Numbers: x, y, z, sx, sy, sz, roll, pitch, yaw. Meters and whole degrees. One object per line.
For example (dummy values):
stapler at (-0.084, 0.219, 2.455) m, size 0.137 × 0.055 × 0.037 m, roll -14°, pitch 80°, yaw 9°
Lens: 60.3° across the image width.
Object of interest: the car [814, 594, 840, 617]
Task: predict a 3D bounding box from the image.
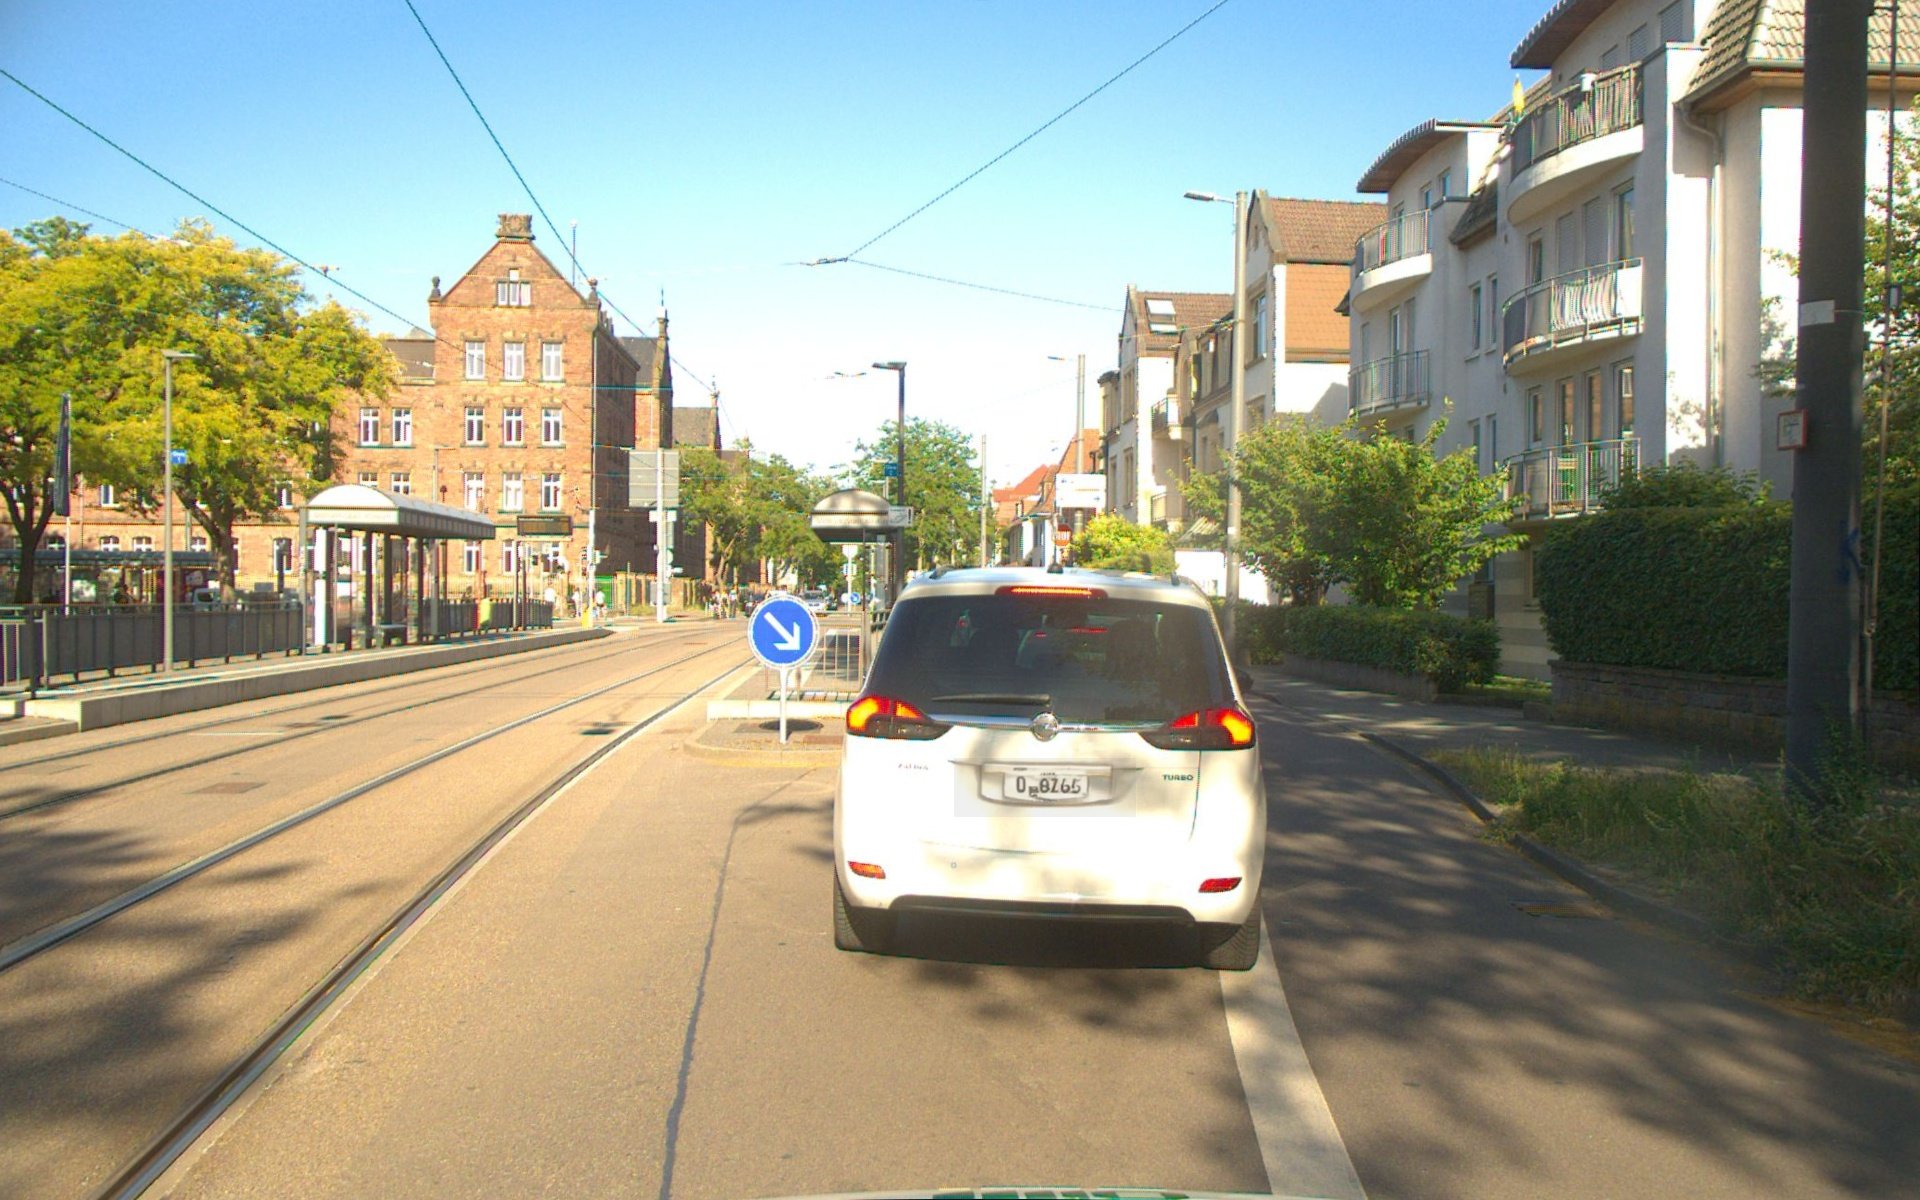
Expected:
car at (-10.358, 0.441, 128.905) m, size 1.711 × 1.746 × 3.999 m, roll 1°, pitch 0°, yaw -1°

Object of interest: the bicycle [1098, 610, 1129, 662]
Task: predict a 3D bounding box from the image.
bicycle at (3.470, 0.804, 37.506) m, size 0.611 × 1.116 × 1.974 m, roll 0°, pitch 0°, yaw 3°

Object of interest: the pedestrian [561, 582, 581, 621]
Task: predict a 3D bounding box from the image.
pedestrian at (-20.711, 0.086, 88.029) m, size 0.788 × 2.049 × 0.712 m, roll 1°, pitch -1°, yaw -34°

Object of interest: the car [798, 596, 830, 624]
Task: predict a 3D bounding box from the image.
car at (-9.454, 0.619, 107.208) m, size 1.711 × 1.746 × 3.999 m, roll 1°, pitch 0°, yaw -1°

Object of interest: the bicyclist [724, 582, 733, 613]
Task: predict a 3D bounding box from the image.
bicyclist at (-15.251, -0.152, 108.971) m, size 0.488 × 2.049 × 0.572 m, roll 0°, pitch 0°, yaw -1°

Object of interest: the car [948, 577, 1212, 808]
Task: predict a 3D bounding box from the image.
car at (1.068, 0.644, 13.781) m, size 1.866 × 1.625 × 4.003 m, roll 0°, pitch 0°, yaw 6°

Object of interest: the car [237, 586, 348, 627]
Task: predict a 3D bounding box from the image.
car at (-28.116, 0.270, 69.752) m, size 3.908 × 1.658 × 1.817 m, roll 1°, pitch 0°, yaw -4°

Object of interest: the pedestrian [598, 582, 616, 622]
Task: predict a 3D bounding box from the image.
pedestrian at (-18.084, 0.090, 84.698) m, size 0.782 × 2.049 × 0.717 m, roll 1°, pitch -1°, yaw -18°

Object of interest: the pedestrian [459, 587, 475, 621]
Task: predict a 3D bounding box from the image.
pedestrian at (-26.315, 0.216, 88.276) m, size 0.754 × 1.805 × 0.717 m, roll 1°, pitch -1°, yaw -18°

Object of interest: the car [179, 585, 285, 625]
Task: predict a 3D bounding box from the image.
car at (-32.448, 0.224, 73.825) m, size 3.908 × 1.658 × 1.817 m, roll 1°, pitch 0°, yaw -4°

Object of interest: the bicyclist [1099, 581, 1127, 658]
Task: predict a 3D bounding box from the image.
bicyclist at (3.468, 0.437, 37.457) m, size 0.603 × 1.716 × 0.779 m, roll 0°, pitch 0°, yaw 3°

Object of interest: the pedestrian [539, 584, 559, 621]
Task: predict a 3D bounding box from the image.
pedestrian at (-22.037, 0.146, 88.663) m, size 0.791 × 1.934 × 0.744 m, roll 1°, pitch -1°, yaw 13°

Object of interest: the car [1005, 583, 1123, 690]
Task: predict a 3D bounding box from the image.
car at (1.789, 0.574, 28.293) m, size 1.867 × 1.690 × 4.002 m, roll 0°, pitch 0°, yaw 4°

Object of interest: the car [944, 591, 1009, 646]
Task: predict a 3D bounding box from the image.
car at (0.502, 0.552, 53.088) m, size 1.869 × 1.690 × 3.998 m, roll 0°, pitch 0°, yaw -2°

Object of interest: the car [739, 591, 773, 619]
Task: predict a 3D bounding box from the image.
car at (-13.162, 0.297, 106.840) m, size 1.711 × 1.746 × 3.999 m, roll 1°, pitch 0°, yaw -1°

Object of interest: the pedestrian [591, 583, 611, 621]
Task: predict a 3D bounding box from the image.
pedestrian at (-19.257, 0.114, 88.673) m, size 0.789 × 2.049 × 0.711 m, roll 1°, pitch -1°, yaw -38°

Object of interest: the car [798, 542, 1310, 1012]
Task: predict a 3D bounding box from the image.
car at (0.552, 0.628, 8.052) m, size 1.866 × 1.690 × 4.003 m, roll 0°, pitch 0°, yaw 6°

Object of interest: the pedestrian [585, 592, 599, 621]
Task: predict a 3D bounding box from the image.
pedestrian at (-21.127, 0.371, 94.969) m, size 0.640 × 1.640 × 0.711 m, roll 1°, pitch -1°, yaw 1°

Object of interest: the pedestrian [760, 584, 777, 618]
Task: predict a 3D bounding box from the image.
pedestrian at (-11.248, 0.065, 96.982) m, size 0.732 × 1.934 × 0.804 m, roll 1°, pitch -1°, yaw -25°

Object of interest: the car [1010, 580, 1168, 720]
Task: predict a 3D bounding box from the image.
car at (1.749, 0.582, 21.632) m, size 1.866 × 1.653 × 4.003 m, roll 0°, pitch 0°, yaw 6°

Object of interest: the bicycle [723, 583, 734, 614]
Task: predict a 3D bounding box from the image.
bicycle at (-15.256, -0.093, 108.989) m, size 0.477 × 2.049 × 1.405 m, roll 0°, pitch 0°, yaw -1°

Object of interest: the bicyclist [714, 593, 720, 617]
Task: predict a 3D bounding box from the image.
bicyclist at (-15.106, 0.290, 102.808) m, size 0.307 × 1.469 × 0.384 m, roll 0°, pitch 0°, yaw -1°

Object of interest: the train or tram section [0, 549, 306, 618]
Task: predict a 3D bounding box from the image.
train or tram section at (-40.750, -0.756, 79.427) m, size 17.048 × 3.210 × 3.343 m, roll 0°, pitch 0°, yaw -6°

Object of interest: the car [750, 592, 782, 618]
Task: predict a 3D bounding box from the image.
car at (-13.308, 0.356, 113.504) m, size 1.711 × 1.746 × 3.999 m, roll 1°, pitch 0°, yaw -1°

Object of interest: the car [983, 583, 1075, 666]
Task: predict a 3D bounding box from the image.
car at (1.446, 0.501, 36.126) m, size 1.868 × 1.690 × 4.000 m, roll 0°, pitch 0°, yaw 0°

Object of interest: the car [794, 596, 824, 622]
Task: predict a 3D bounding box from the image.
car at (-10.471, 0.596, 115.049) m, size 1.711 × 1.746 × 3.999 m, roll 1°, pitch 0°, yaw -1°
